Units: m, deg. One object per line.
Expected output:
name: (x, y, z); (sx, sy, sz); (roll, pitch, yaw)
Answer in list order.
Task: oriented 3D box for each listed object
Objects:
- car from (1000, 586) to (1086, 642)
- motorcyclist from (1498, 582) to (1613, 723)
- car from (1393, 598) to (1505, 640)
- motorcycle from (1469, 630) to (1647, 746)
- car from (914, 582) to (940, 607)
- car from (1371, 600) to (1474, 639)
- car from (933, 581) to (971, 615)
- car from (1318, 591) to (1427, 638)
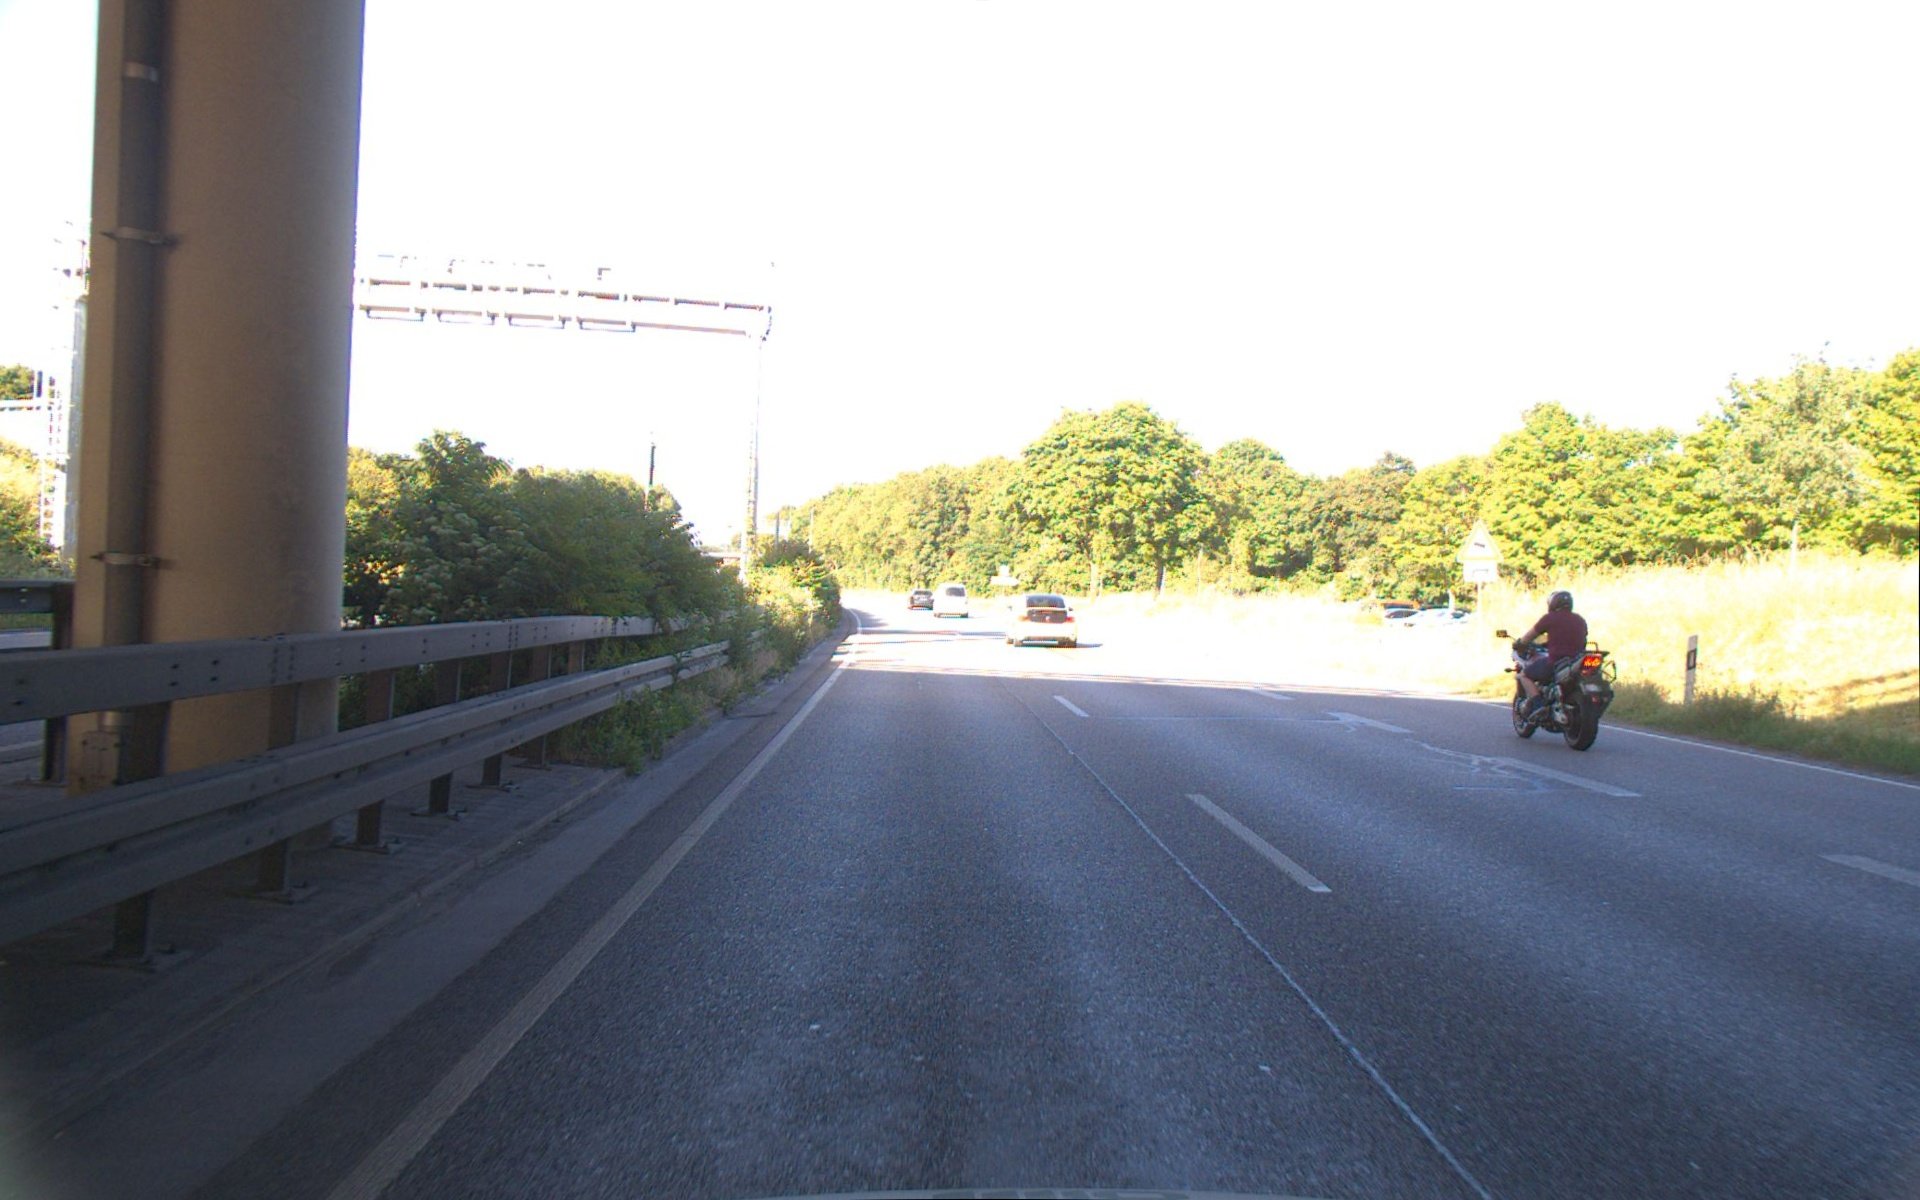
car: (2.327, 0.362, 47.272); (1.860, 1.496, 3.995); (1, 1, -6)
motorcyclist: (6.496, 0.558, 18.083); (0.800, 1.472, 1.093); (1, 0, -3)
car: (20.429, 0.808, 69.168); (4.032, 1.586, 1.920); (2, -3, -8)
motorcycle: (6.484, 0.917, 18.143); (0.800, 1.088, 2.834); (1, 0, -2)
car: (-2.368, -0.404, 118.812); (1.858, 1.798, 3.999); (1, 0, -1)
car: (20.090, 0.861, 71.879); (3.857, 1.485, 1.920); (2, -3, -8)
car: (-0.465, -0.093, 90.392); (1.859, 1.798, 3.997); (0, 0, -3)
car: (19.948, 0.715, 80.073); (4.698, 2.059, 2.023); (2, -3, -8)
